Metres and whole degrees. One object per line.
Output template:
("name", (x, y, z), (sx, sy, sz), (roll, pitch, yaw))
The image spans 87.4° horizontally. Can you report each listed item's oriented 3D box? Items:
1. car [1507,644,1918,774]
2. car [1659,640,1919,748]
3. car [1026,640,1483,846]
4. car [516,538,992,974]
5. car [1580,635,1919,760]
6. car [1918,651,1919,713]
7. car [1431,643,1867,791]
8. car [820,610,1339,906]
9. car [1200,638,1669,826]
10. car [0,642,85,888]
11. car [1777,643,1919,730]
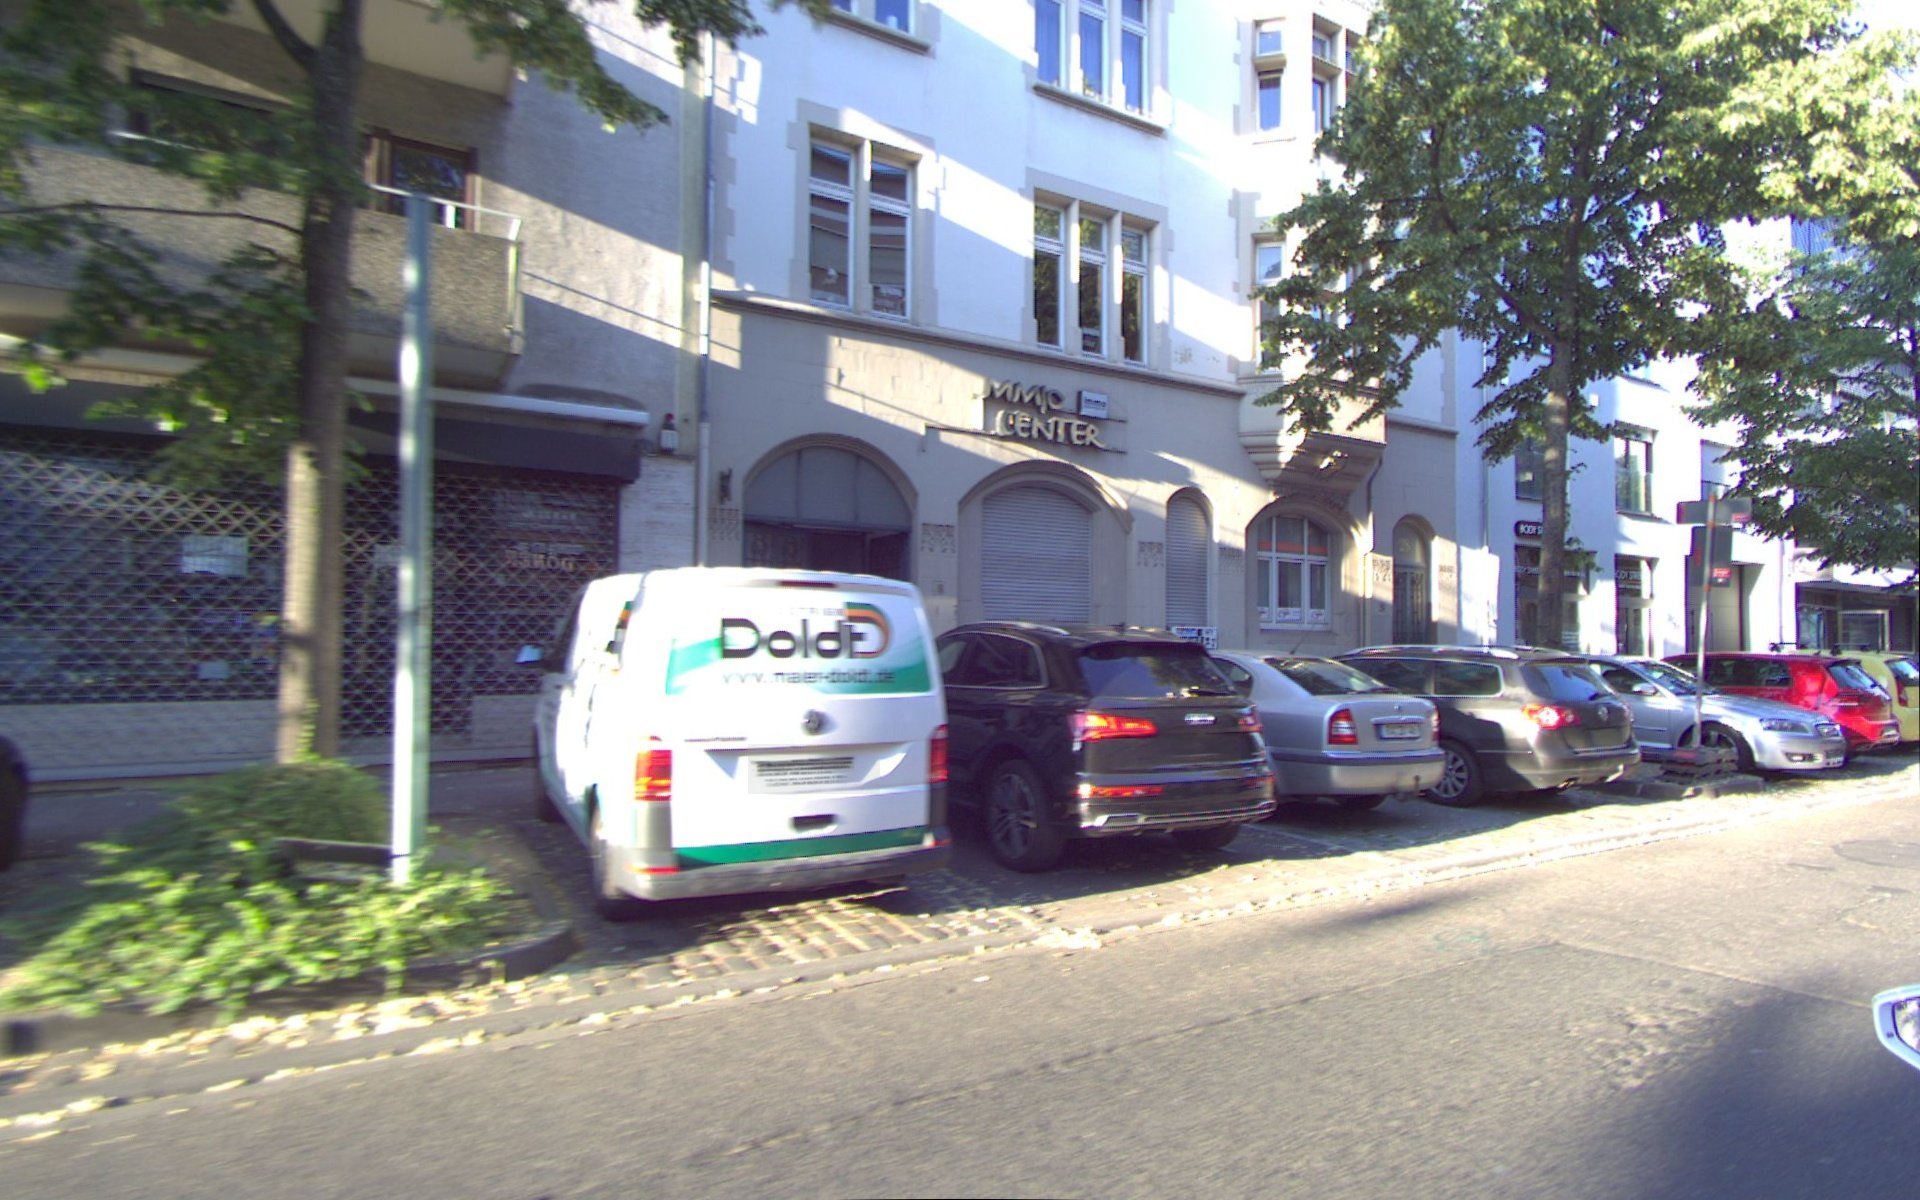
("car", (10.582, 1.426, 14.531), (1.837, 1.477, 4.424), (2, -2, -29))
("car", (14.801, 1.523, 17.082), (1.895, 1.588, 4.424), (2, -2, -29))
("car", (2.586, 1.180, 9.967), (1.758, 1.486, 4.424), (2, -2, -29))
("car", (-1.797, 0.779, 7.073), (1.967, 1.987, 4.551), (2, -2, -29))
("car", (12.775, 1.431, 16.197), (1.837, 1.660, 4.424), (2, -2, -29))
("car", (24.576, 1.922, 22.328), (1.895, 1.468, 4.424), (2, -2, -29))
("car", (8.712, 1.361, 13.182), (1.787, 1.504, 4.424), (2, -2, -29))
("car", (0.609, 0.988, 8.341), (2.035, 1.720, 4.552), (2, -2, -29))
("car", (4.816, 1.223, 10.926), (1.822, 1.526, 4.424), (2, -2, -29))
("car", (-6.238, 0.933, 4.883), (2.017, 1.410, 3.778), (3, -2, -26))
("car", (18.848, 1.668, 19.383), (1.895, 1.588, 4.424), (2, -2, -29))
